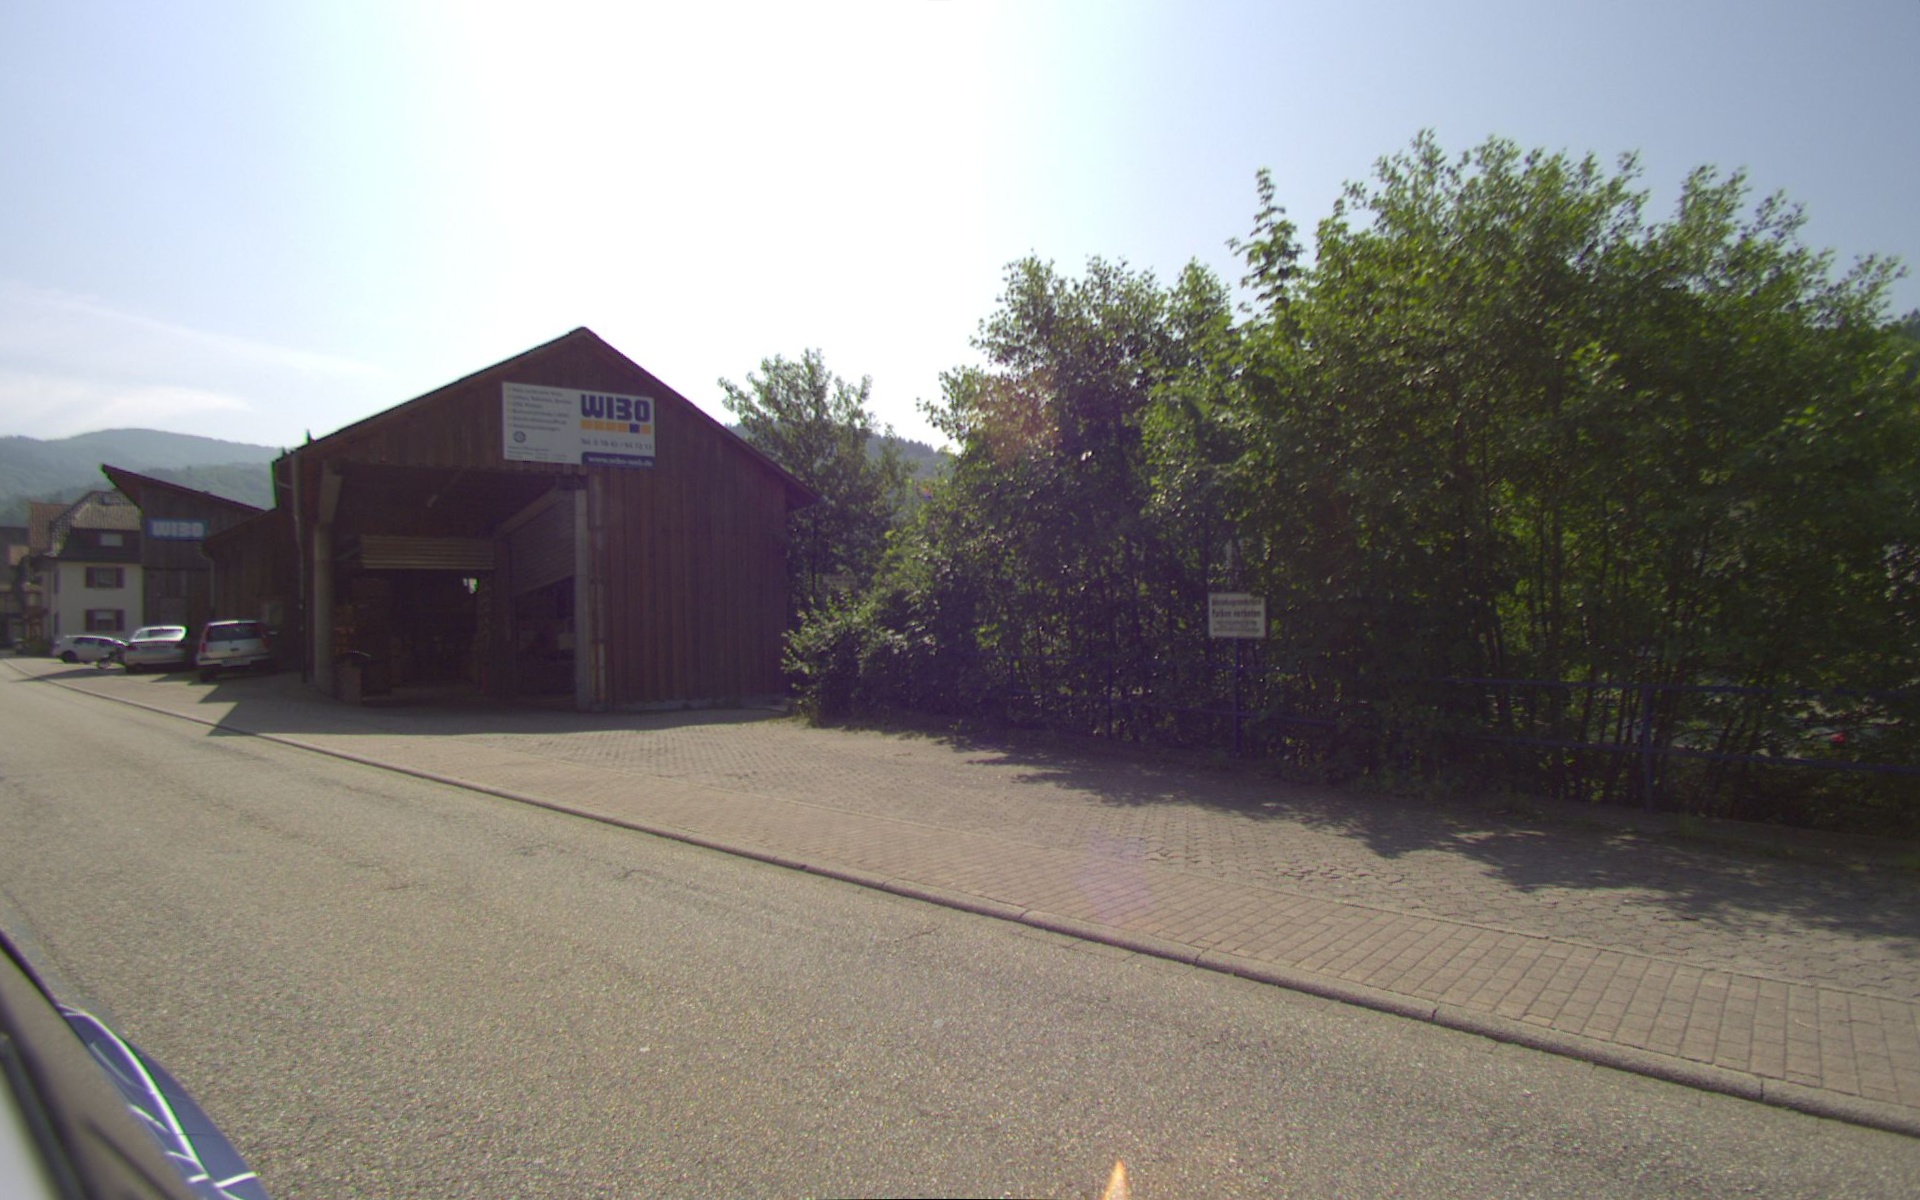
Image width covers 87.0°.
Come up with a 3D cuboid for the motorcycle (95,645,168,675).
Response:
[{"bbox_3d":[-36.290,2.601,44.375,2.376,1.274,0.745,1,-3,-35],"label":"motorcycle"}]

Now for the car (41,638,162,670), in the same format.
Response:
[{"bbox_3d":[-45.377,2.871,53.600,4.367,1.486,1.930,3,-4,-19],"label":"car"}]

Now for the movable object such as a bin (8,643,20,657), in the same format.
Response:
[{"bbox_3d":[-81.825,4.308,87.558,0.709,1.190,0.598,3,-4,-44],"label":"movable object such as a bin"}]

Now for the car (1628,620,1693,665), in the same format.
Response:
[{"bbox_3d":[28.559,1.697,41.340,1.757,1.689,3.766,-1,-1,29],"label":"car"}]

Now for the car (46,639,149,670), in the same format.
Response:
[{"bbox_3d":[-43.849,2.770,51.538,3.608,1.396,1.716,5,-5,-29],"label":"car"}]

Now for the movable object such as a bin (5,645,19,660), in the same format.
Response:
[{"bbox_3d":[-68.293,3.774,72.922,0.621,1.075,0.668,-2,-3,44],"label":"movable object such as a bin"}]

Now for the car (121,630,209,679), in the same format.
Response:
[{"bbox_3d":[-26.368,1.804,33.704,1.705,1.465,4.818,0,-3,-31],"label":"car"}]

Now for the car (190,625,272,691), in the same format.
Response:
[{"bbox_3d":[-19.838,1.542,27.676,1.559,1.582,4.034,-4,0,-33],"label":"car"}]
